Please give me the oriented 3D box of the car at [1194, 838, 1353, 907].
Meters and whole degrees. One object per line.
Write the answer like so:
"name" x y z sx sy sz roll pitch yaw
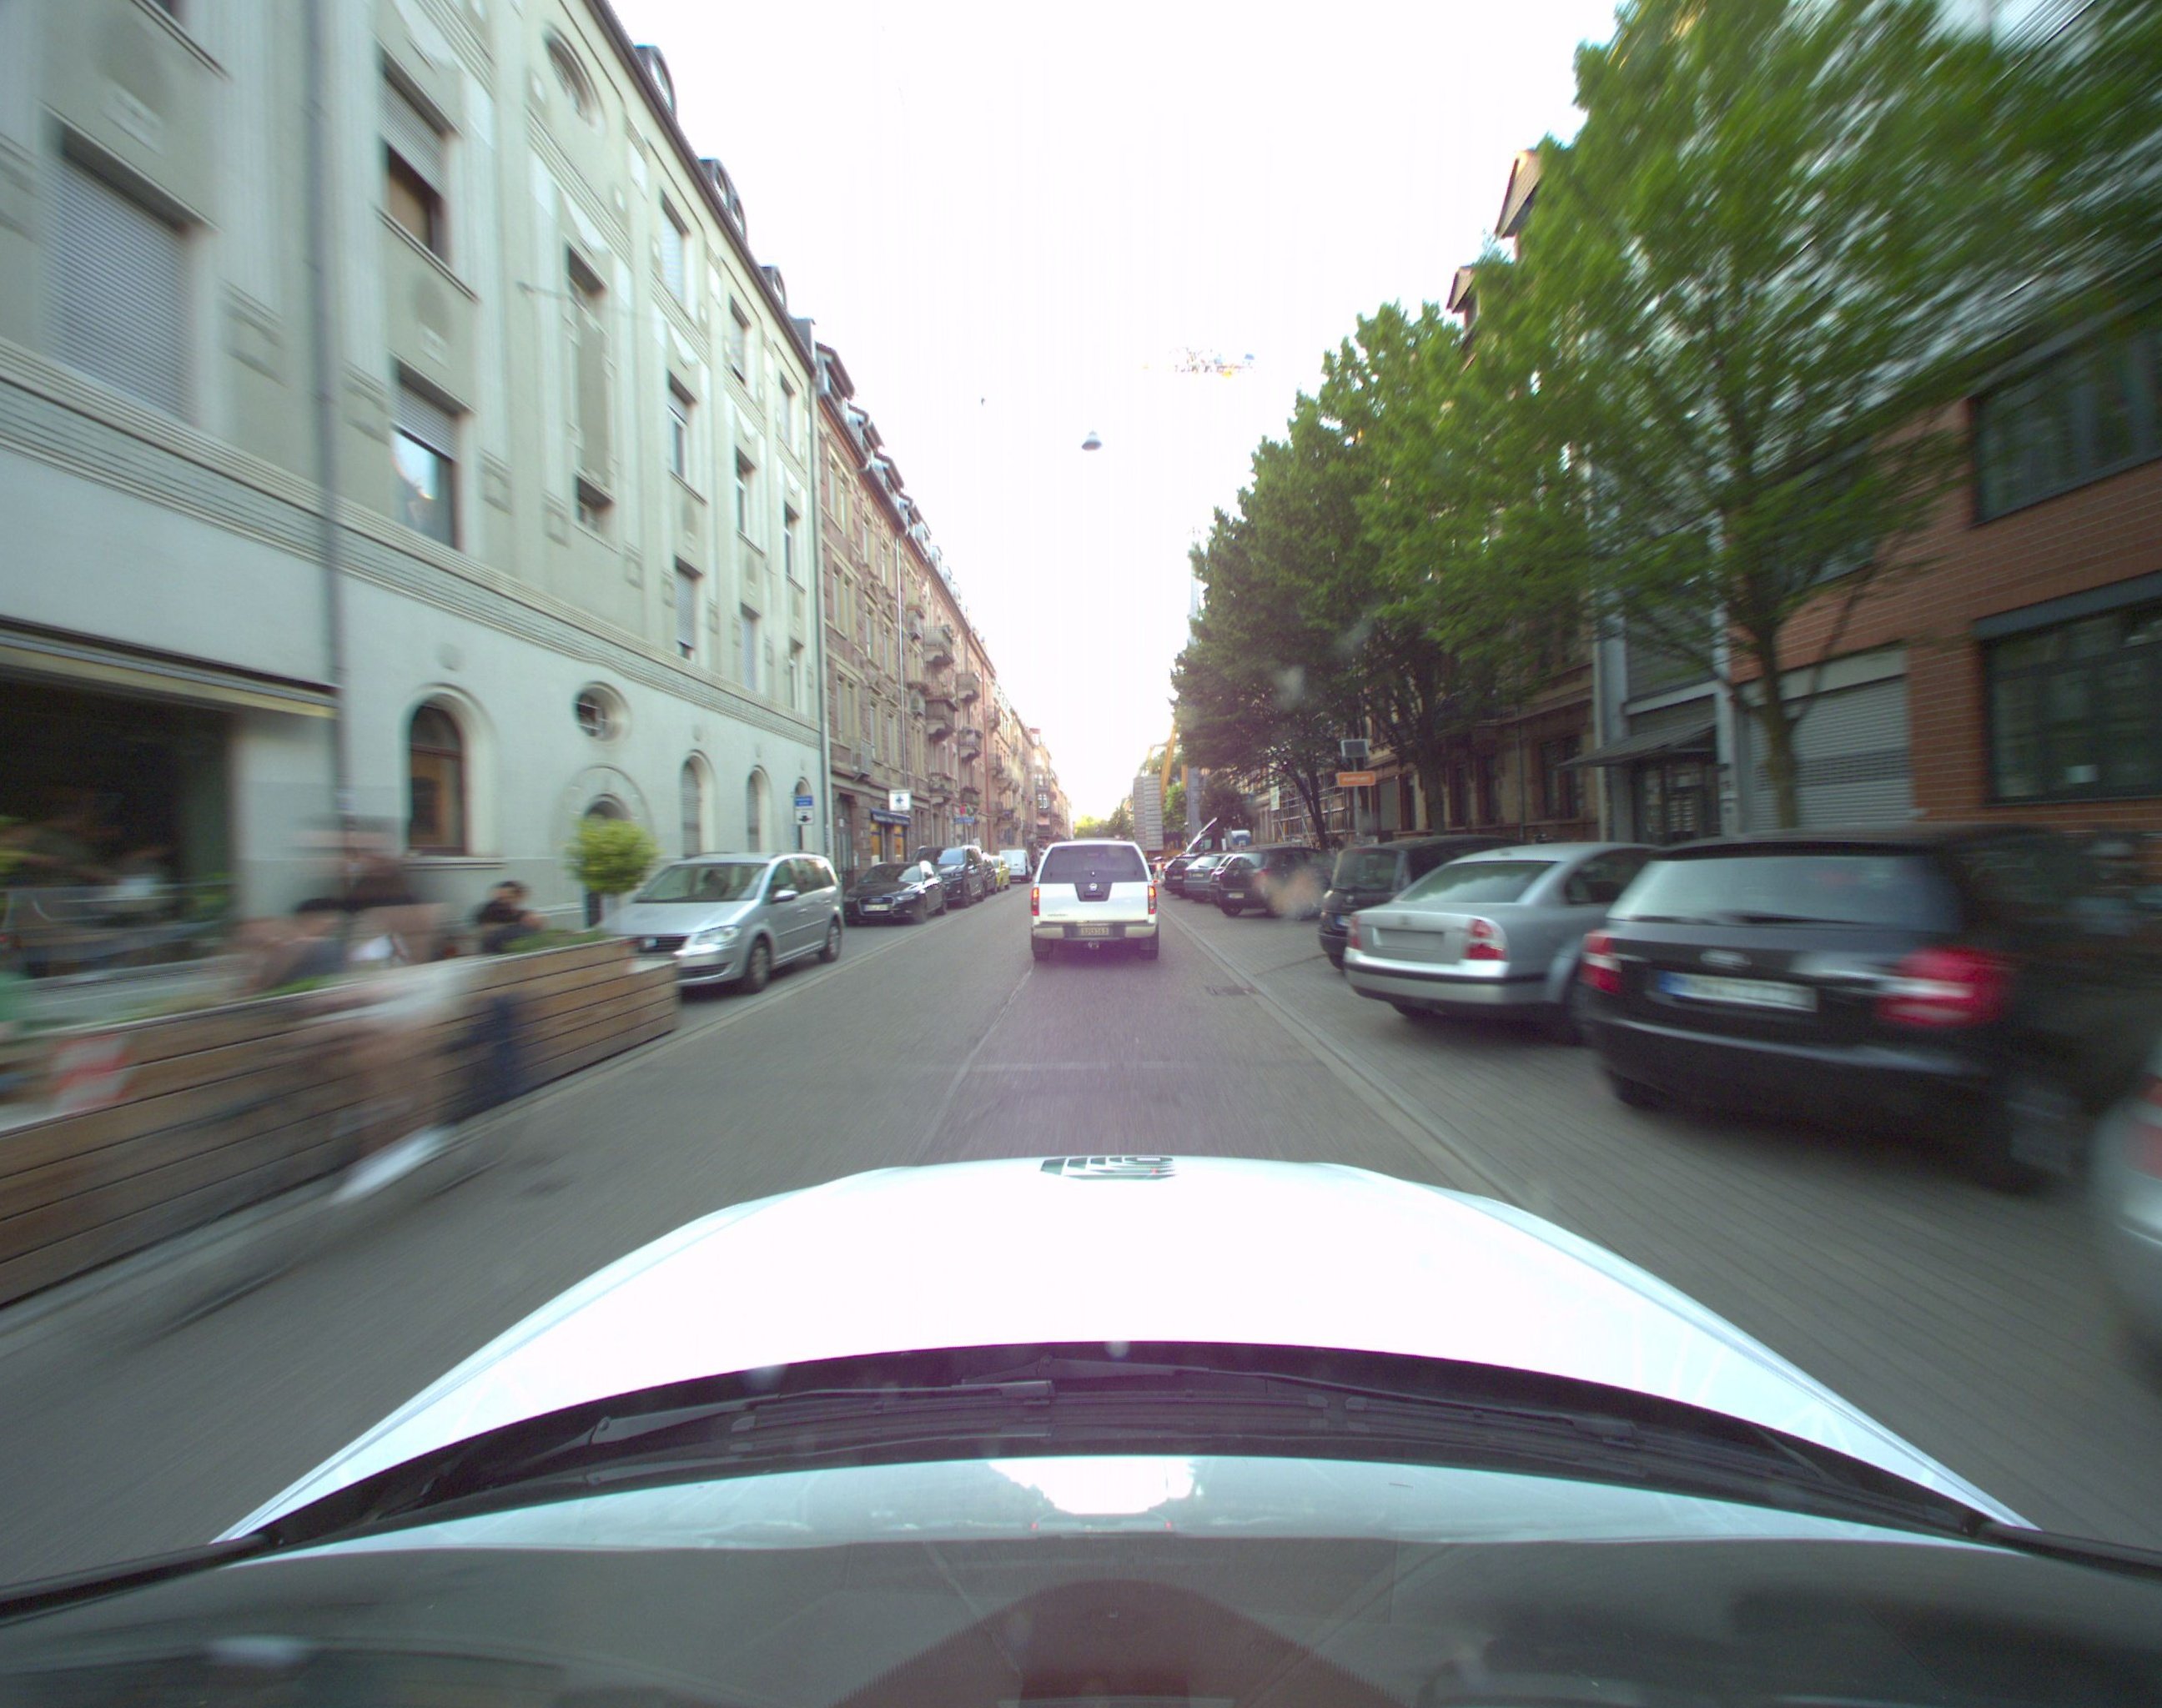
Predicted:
"car" 5.178 0.460 21.909 3.844 1.530 1.748 -4 0 -25

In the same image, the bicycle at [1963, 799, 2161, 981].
"bicycle" 8.764 0.245 6.561 2.524 1.379 0.600 -2 0 3

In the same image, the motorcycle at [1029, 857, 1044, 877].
"motorcycle" -3.247 0.970 60.062 0.833 1.416 2.550 -1 0 2

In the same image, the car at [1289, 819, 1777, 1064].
"car" 4.139 0.551 7.273 4.401 1.534 1.790 -3 0 -30

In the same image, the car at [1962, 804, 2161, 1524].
"car" 4.074 0.555 1.957 3.613 1.482 1.707 -3 0 -27

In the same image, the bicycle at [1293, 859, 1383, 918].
"bicycle" 5.207 0.697 16.618 0.561 1.107 1.841 -1 -2 -28

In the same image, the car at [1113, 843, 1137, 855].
"car" 8.678 -1.037 160.946 4.568 2.177 1.821 -2 0 3

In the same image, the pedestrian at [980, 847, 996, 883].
"pedestrian" -4.992 0.582 43.802 0.736 1.869 0.618 -1 0 -1

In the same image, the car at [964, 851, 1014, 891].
"car" -3.976 0.690 35.711 1.493 1.593 3.859 -2 0 2

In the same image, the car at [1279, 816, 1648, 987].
"car" 4.702 0.483 10.088 3.999 1.636 1.747 -3 0 -19

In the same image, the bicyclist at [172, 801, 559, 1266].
"bicyclist" -2.994 0.657 3.560 0.600 1.684 1.143 -2 0 1

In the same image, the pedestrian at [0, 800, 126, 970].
"pedestrian" -8.549 0.248 6.785 0.536 1.350 0.518 -2 0 1

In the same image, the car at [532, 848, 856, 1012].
"car" -4.543 0.767 10.457 1.987 1.591 4.314 -2 0 0

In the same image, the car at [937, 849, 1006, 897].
"car" -4.149 0.674 31.481 1.897 1.663 4.070 -2 0 2

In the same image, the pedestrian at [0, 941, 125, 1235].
"pedestrian" -5.342 1.130 3.950 0.535 1.324 0.705 -2 0 1

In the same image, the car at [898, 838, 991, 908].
"car" -4.122 0.537 25.475 1.898 1.925 4.949 -1 0 2

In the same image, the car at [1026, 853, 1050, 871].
"car" -3.882 0.693 73.779 1.785 1.530 4.001 -1 0 1

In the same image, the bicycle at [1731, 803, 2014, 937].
"bicycle" 8.987 0.179 9.315 2.524 1.379 0.600 -2 0 3

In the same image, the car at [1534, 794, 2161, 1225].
"car" 4.391 0.512 4.473 3.614 1.534 1.549 -3 0 -27

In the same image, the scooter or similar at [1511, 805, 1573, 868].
"scooter or similar" 9.760 -0.354 17.296 0.464 1.217 1.781 -9 -2 12

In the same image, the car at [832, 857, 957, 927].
"car" -4.375 0.831 19.901 1.905 1.472 4.534 -1 0 1

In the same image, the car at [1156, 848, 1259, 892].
"car" 4.702 0.556 30.152 3.571 1.464 1.596 -2 0 -30

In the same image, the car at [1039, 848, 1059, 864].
"car" -3.105 0.216 80.656 1.704 1.530 4.001 -1 0 1

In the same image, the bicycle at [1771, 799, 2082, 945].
"bicycle" 8.871 0.188 8.609 2.524 1.379 0.600 -2 0 3

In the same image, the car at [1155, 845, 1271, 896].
"car" 4.463 0.501 27.299 3.913 1.530 1.619 -2 0 -39

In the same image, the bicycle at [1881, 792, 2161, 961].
"bicycle" 8.775 0.181 7.282 2.524 1.379 0.600 -2 0 3

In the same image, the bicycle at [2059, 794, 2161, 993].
"bicycle" 8.726 0.220 5.848 2.524 1.379 0.600 -2 0 3

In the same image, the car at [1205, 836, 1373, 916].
"car" 4.754 0.450 18.600 3.418 1.474 1.757 -4 1 -30

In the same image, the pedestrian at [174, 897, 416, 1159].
"pedestrian" -4.475 0.938 4.697 0.607 1.324 0.770 -2 0 0

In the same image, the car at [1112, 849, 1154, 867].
"car" 5.321 0.402 83.239 4.177 1.622 1.821 -2 0 3

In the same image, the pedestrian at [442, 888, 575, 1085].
"pedestrian" -4.247 0.947 6.079 0.482 1.350 0.669 -2 0 0

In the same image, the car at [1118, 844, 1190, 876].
"car" 4.435 0.334 49.277 4.173 1.780 1.823 -2 0 6

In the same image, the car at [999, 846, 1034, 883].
"car" -3.522 0.563 44.952 1.554 1.921 3.856 0 0 1

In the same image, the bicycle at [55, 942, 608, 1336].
"bicycle" -2.984 1.027 3.592 0.612 1.040 1.904 -2 0 1

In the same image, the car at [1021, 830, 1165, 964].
"car" 0.265 0.573 13.296 1.925 1.794 4.625 -1 0 3

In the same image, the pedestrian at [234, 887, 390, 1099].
"pedestrian" -5.307 0.924 5.650 0.467 1.350 0.611 -2 0 0

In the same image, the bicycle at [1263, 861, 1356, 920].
"bicycle" 4.551 0.726 16.363 0.696 1.107 1.841 -1 -2 -28

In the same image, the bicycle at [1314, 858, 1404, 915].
"bicycle" 5.736 0.668 16.896 0.561 1.107 1.841 -1 -2 -28

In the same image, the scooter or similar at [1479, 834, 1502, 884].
"scooter or similar" 10.619 0.105 21.126 0.365 1.218 1.629 -6 -1 25

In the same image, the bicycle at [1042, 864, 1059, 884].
"bicycle" -1.513 1.002 40.899 0.798 0.947 2.004 -1 0 -1

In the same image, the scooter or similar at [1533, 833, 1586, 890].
"scooter or similar" 10.962 0.153 18.709 0.409 1.218 1.781 -7 -1 12

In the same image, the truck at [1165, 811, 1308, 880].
"truck" 7.196 -0.344 38.281 6.296 2.977 2.265 -2 -3 2

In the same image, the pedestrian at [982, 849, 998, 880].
"pedestrian" -5.488 0.636 49.266 0.611 1.869 0.744 -2 0 24

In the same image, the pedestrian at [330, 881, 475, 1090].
"pedestrian" -4.731 0.884 5.713 0.467 1.350 0.611 -2 0 0

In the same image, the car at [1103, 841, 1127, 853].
"car" 6.543 -1.258 157.432 4.568 2.177 1.821 -2 0 3

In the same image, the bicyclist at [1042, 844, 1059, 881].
"bicyclist" -1.543 0.415 40.900 0.798 1.849 0.943 -1 0 -1

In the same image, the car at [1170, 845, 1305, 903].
"car" 4.752 0.573 24.601 3.853 1.436 1.744 -4 1 -34

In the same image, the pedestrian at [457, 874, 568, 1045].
"pedestrian" -4.759 0.860 6.845 0.515 1.350 0.540 -2 0 -2

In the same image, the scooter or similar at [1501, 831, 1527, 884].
"scooter or similar" 10.603 0.067 19.955 0.365 1.218 1.714 -6 -1 25

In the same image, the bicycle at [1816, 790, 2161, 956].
"bicycle" 8.833 0.180 7.975 2.524 1.244 0.600 -8 0 3
